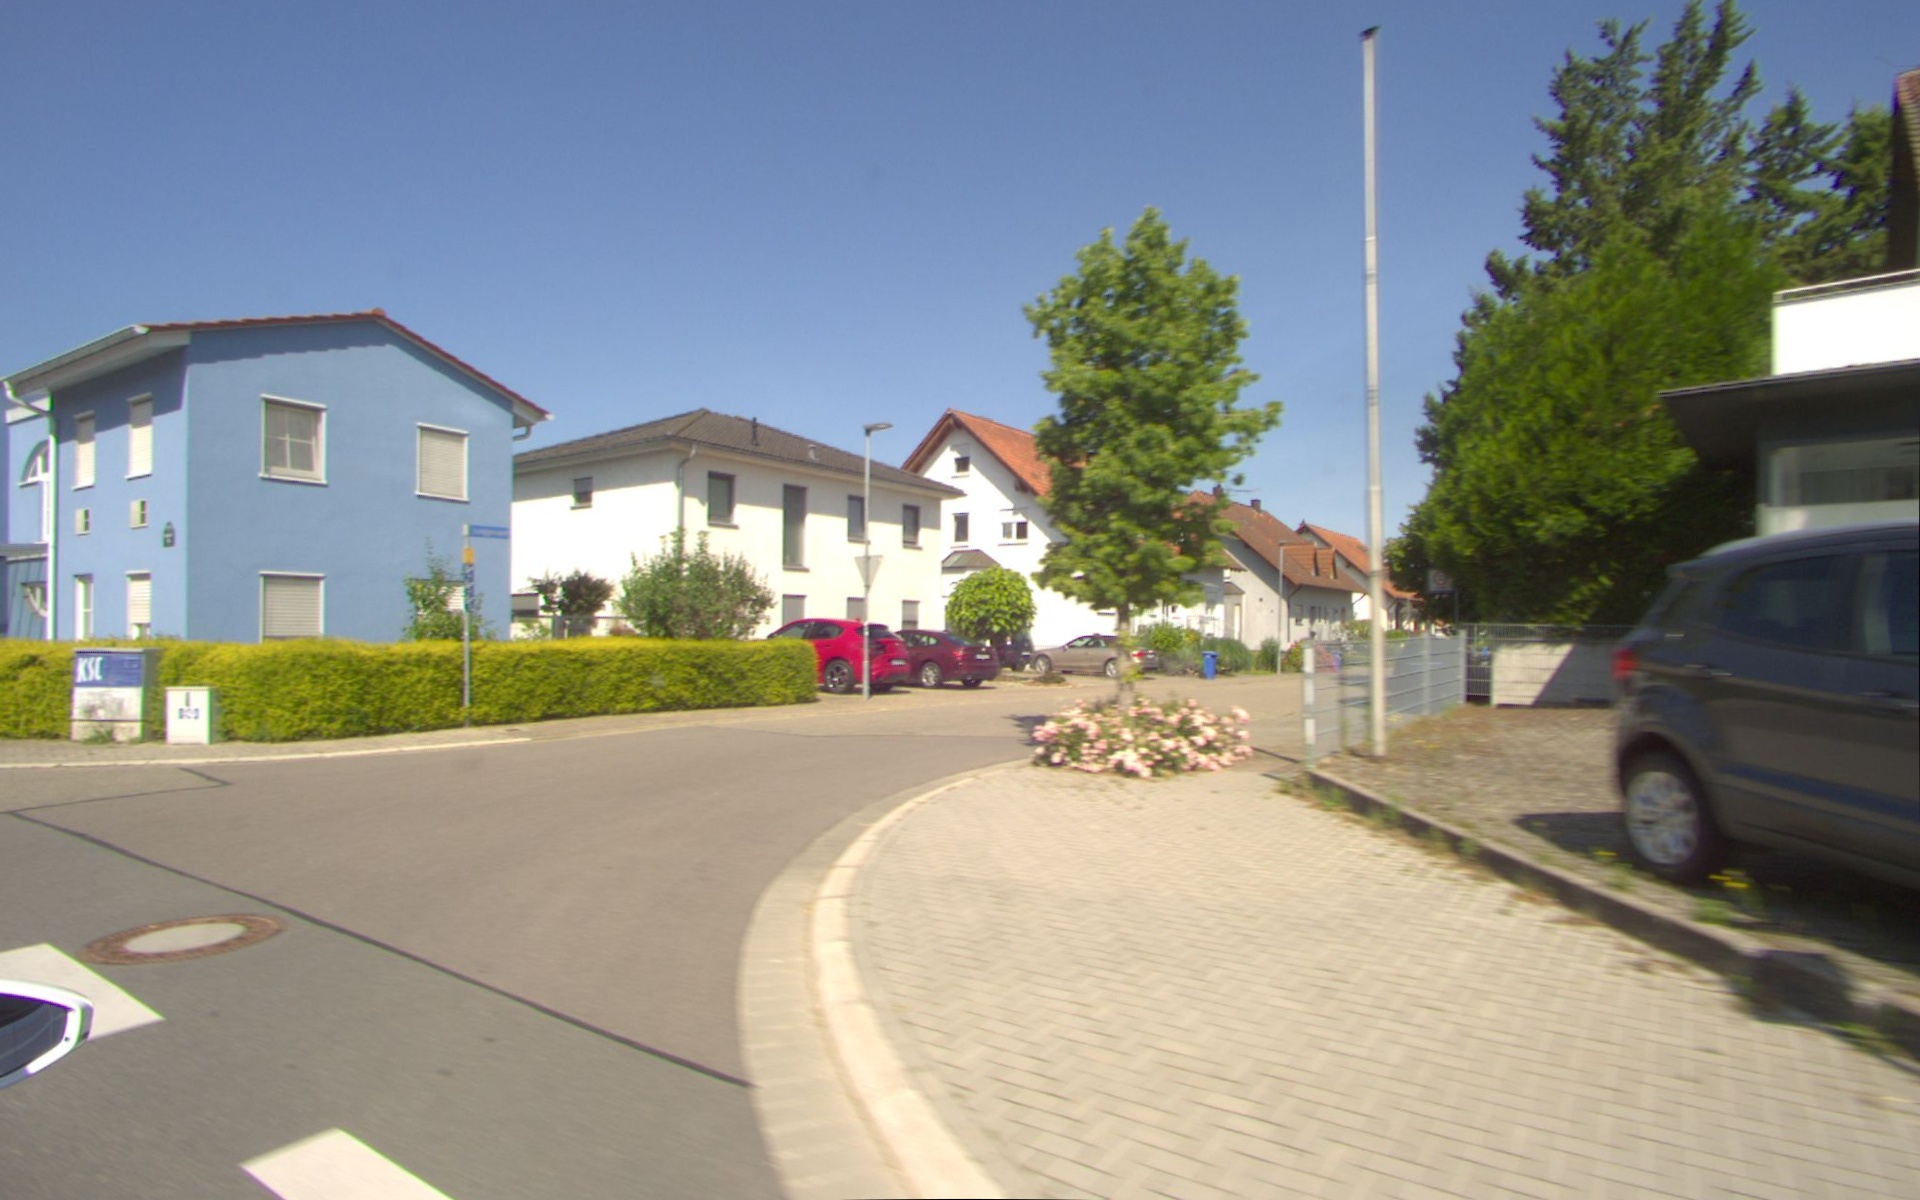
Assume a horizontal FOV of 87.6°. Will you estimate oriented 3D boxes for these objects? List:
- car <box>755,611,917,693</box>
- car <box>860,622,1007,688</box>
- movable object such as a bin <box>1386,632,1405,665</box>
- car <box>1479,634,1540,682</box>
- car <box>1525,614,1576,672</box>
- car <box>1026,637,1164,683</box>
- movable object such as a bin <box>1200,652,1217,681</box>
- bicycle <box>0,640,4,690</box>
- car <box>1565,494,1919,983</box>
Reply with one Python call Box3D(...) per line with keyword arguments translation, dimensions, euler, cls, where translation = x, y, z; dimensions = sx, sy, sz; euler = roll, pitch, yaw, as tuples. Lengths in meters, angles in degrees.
Box3D(translation=(-2.831, 1.185, 22.614), dimensions=(3.430, 1.692, 1.631), euler=(-2, -5, 37), cls="car")
Box3D(translation=(-0.690, 1.396, 25.297), dimensions=(3.430, 1.539, 1.616), euler=(-2, -5, 37), cls="car")
Box3D(translation=(28.203, 3.139, 64.862), dimensions=(1.011, 2.057, 0.914), euler=(-1, -4, 32), cls="movable object such as a bin")
Box3D(translation=(19.697, 2.091, 35.855), dimensions=(1.617, 1.556, 3.887), euler=(-1, -5, 33), cls="car")
Box3D(translation=(27.639, 2.003, 46.824), dimensions=(1.821, 2.568, 3.884), euler=(-1, -3, 33), cls="car")
Box3D(translation=(4.486, 1.976, 33.582), dimensions=(4.331, 1.447, 1.688), euler=(-2, -3, 37), cls="car")
Box3D(translation=(8.524, 2.274, 34.362), dimensions=(0.457, 0.991, 0.385), euler=(-1, -4, 39), cls="movable object such as a bin")
Box3D(translation=(-20.175, 1.299, 19.657), dimensions=(0.647, 0.993, 1.951), euler=(0, -1, 33), cls="bicycle")
Box3D(translation=(4.189, 0.479, 3.460), dimensions=(1.795, 1.674, 4.115), euler=(0, -2, 2), cls="car")
